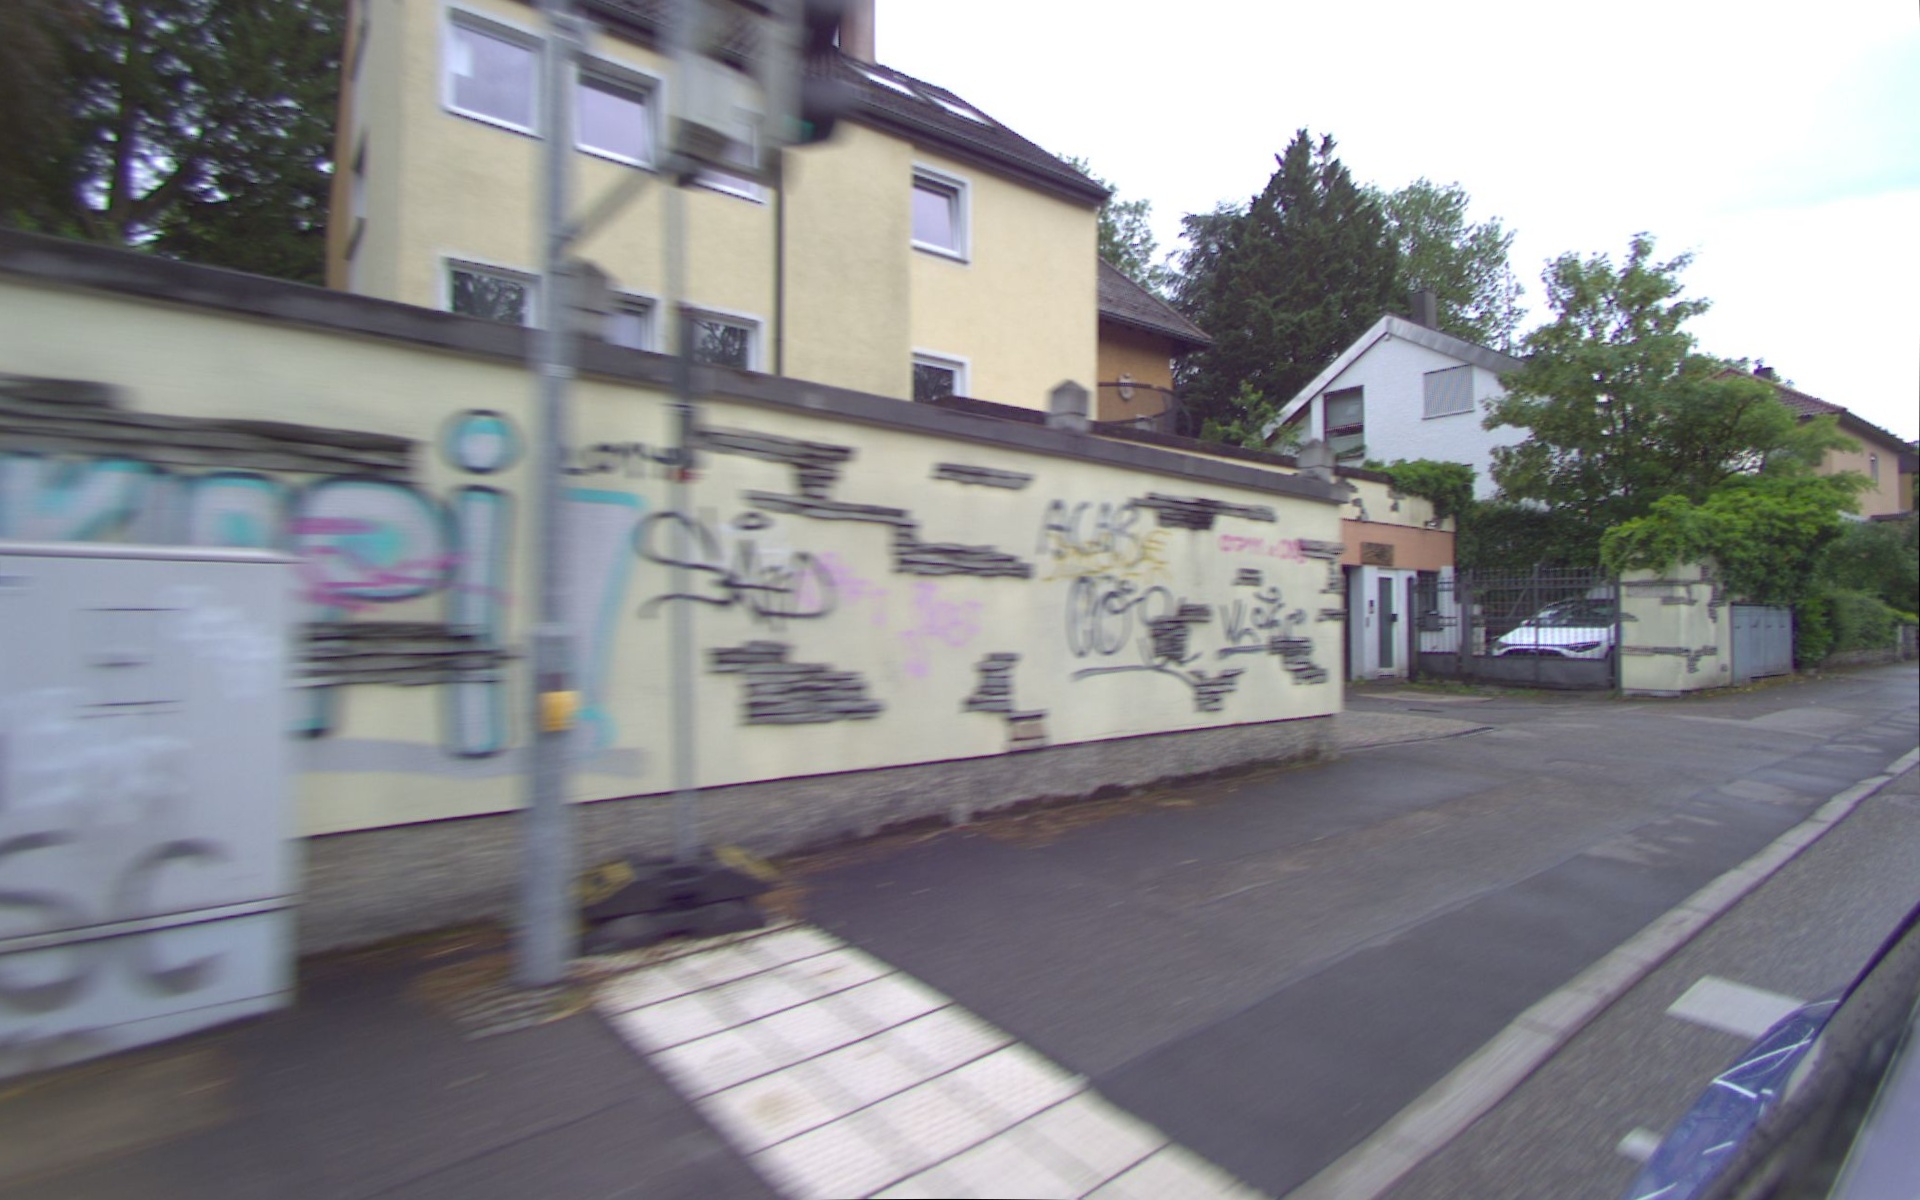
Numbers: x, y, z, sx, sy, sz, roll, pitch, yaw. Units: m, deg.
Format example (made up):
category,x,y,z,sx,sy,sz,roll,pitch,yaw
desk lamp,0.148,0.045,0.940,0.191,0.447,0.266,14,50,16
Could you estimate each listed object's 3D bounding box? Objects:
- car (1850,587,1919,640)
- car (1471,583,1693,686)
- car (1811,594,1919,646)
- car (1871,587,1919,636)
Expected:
category,x,y,z,sx,sy,sz,roll,pitch,yaw
car,30.392,0.437,31.549,1.847,1.585,3.669,0,2,-37
car,11.197,0.537,18.127,4.262,1.616,1.937,-1,0,-37
car,28.636,0.578,30.511,1.847,1.479,4.257,-1,1,-37
car,32.705,0.442,33.369,1.795,1.555,3.667,0,3,-39
